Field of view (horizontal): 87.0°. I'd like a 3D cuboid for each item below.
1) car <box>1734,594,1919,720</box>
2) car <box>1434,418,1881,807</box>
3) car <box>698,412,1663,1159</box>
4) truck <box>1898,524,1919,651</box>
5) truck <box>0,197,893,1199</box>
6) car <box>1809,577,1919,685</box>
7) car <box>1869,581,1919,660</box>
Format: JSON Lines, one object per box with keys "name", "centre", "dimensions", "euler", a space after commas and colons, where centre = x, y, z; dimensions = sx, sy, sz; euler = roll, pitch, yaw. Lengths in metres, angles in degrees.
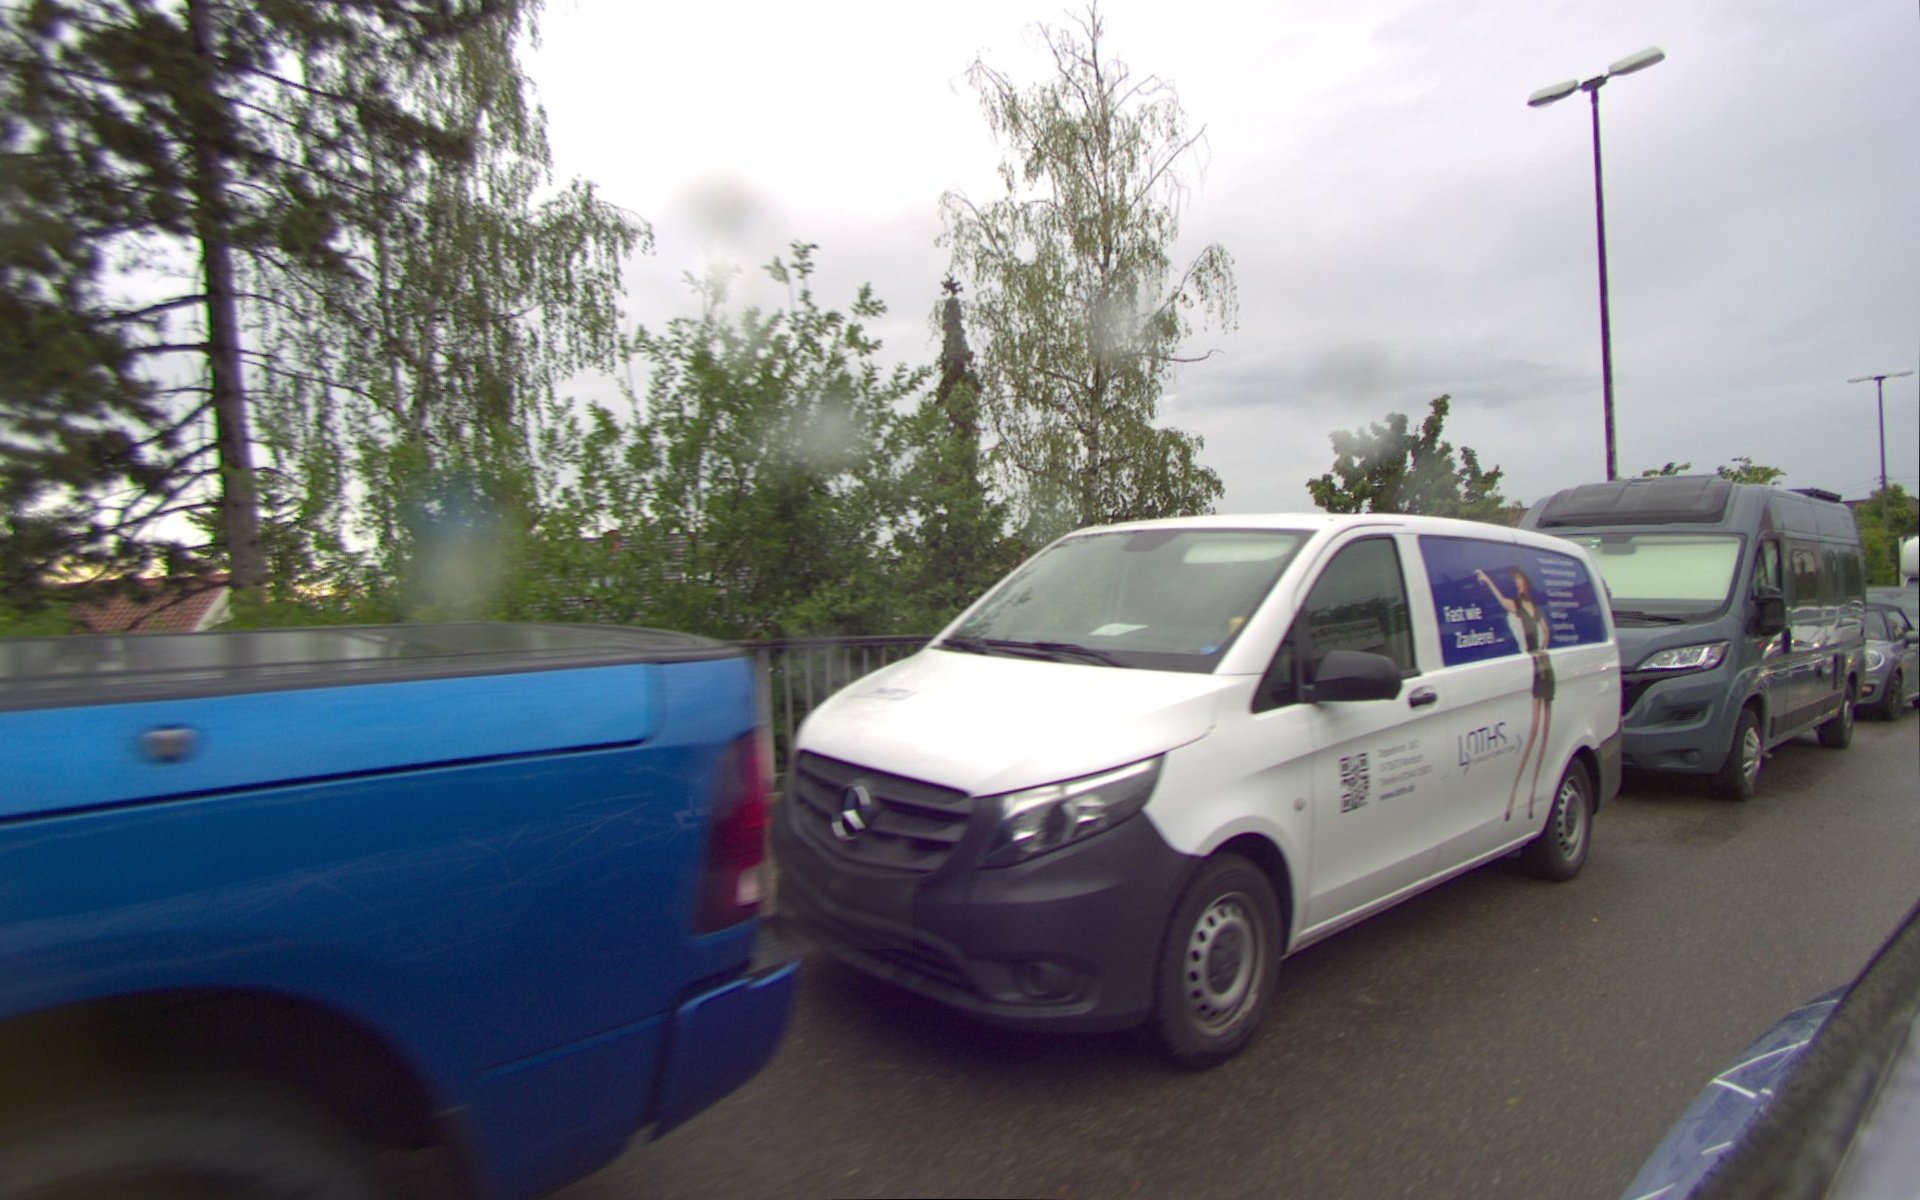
{"name": "car", "centre": [11.797, 0.644, 13.456], "dimensions": [3.729, 1.447, 1.592], "euler": [0, 1, -39]}
{"name": "car", "centre": [6.674, 0.056, 9.308], "dimensions": [5.852, 2.537, 2.034], "euler": [0, 1, -41]}
{"name": "car", "centre": [1.536, 0.438, 4.916], "dimensions": [5.176, 1.865, 1.831], "euler": [0, 1, -40]}
{"name": "truck", "centre": [28.911, -0.364, 28.809], "dimensions": [7.827, 3.377, 2.440], "euler": [-1, 1, -41]}
{"name": "truck", "centre": [-3.261, 0.506, 0.649], "dimensions": [6.504, 1.876, 2.116], "euler": [0, -2, -42]}
{"name": "car", "centre": [16.616, 0.468, 17.661], "dimensions": [4.610, 1.693, 1.941], "euler": [0, 1, -39]}
{"name": "car", "centre": [22.880, 0.417, 23.613], "dimensions": [5.541, 1.704, 1.849], "euler": [-1, 1, -41]}
